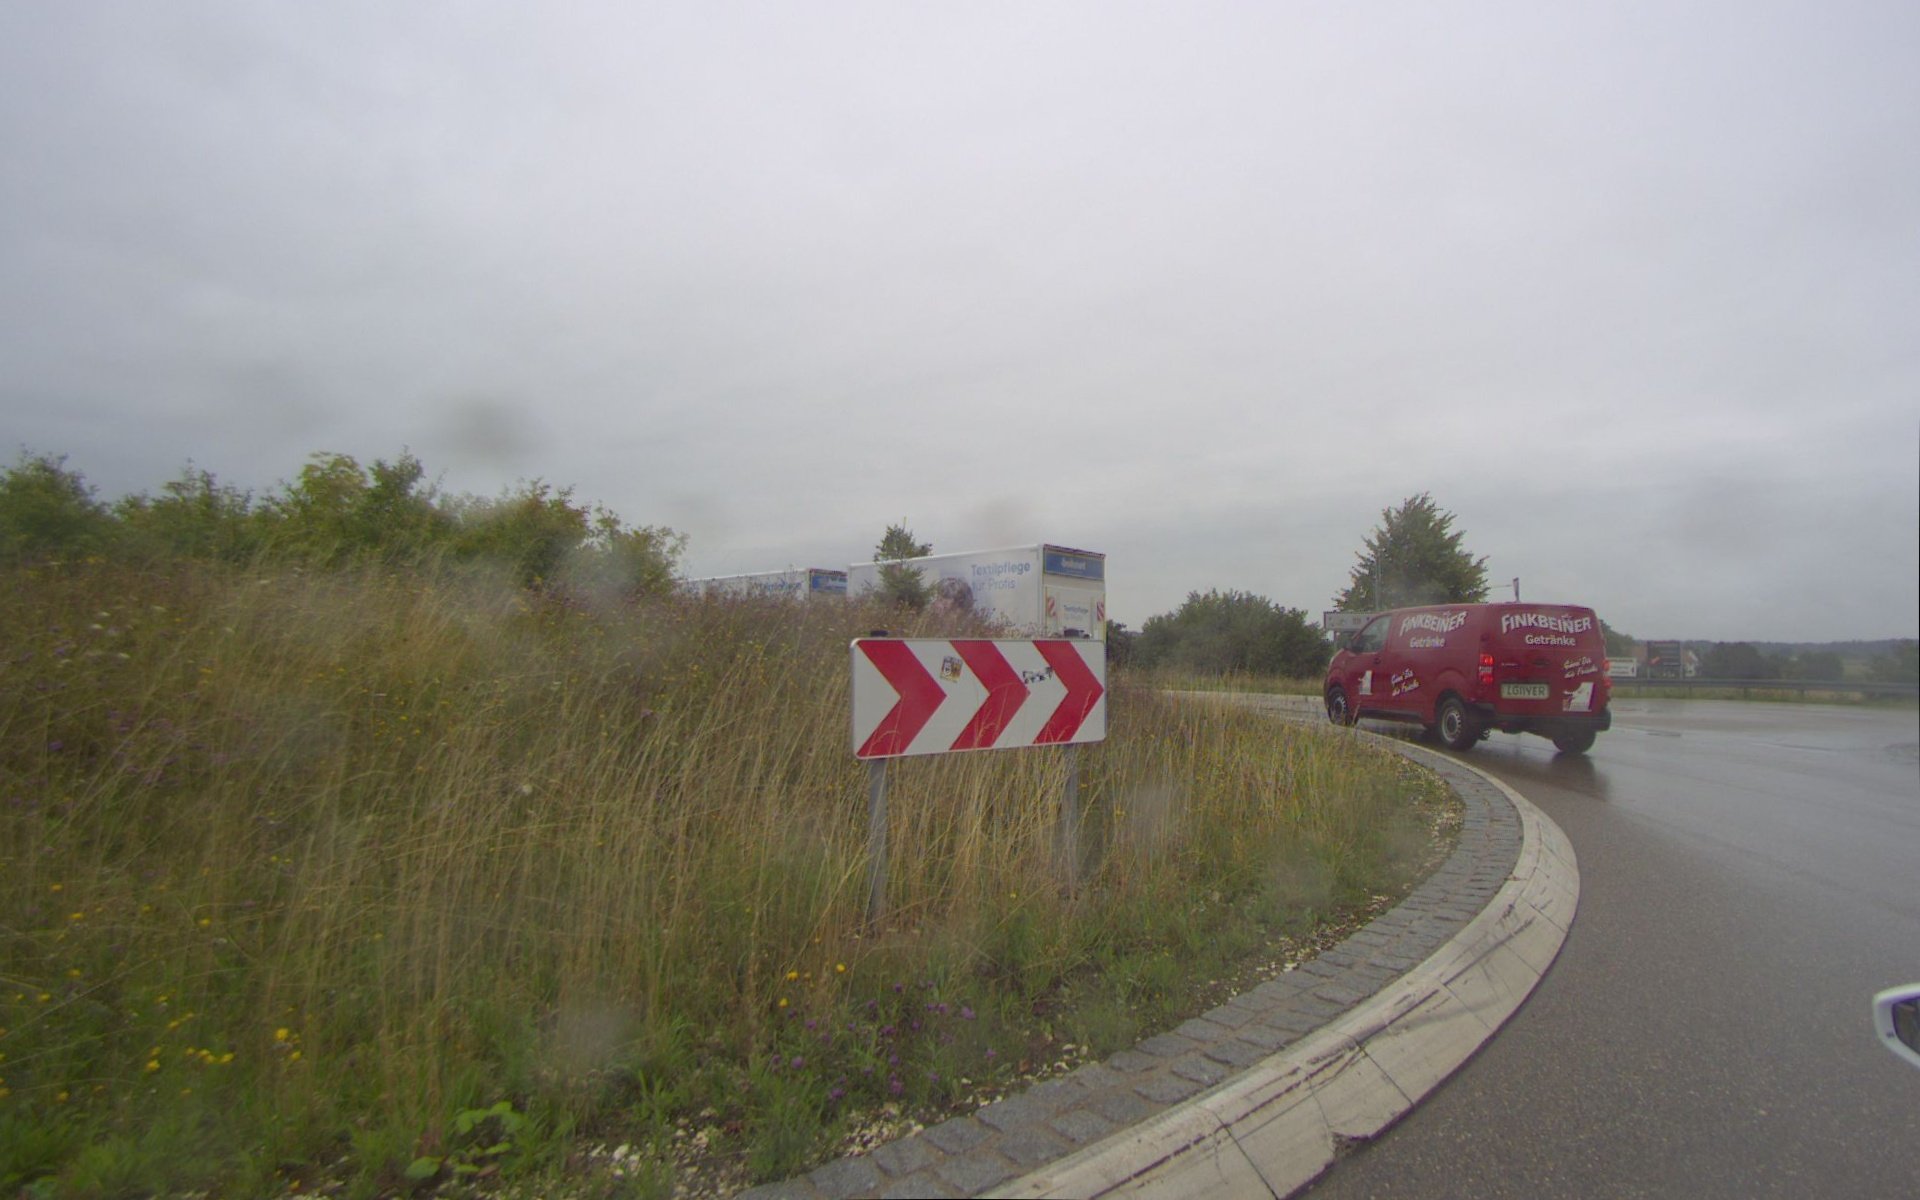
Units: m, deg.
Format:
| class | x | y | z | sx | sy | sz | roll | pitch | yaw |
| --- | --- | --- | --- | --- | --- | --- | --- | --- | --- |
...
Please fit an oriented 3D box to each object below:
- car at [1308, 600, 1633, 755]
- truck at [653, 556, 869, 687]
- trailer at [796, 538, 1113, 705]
| class | x | y | z | sx | sy | sz | roll | pitch | yaw |
| --- | --- | --- | --- | --- | --- | --- | --- | --- | --- |
| car | 7.163 | 1.018 | 14.856 | 1.962 | 1.895 | 4.975 | 0 | -1 | -5 |
| truck | -6.731 | 0.747 | 33.302 | 7.571 | 3.869 | 2.797 | -1 | -2 | 39 |
| trailer | -0.508 | 0.643 | 27.650 | 9.585 | 3.869 | 2.823 | -2 | -3 | 45 |
